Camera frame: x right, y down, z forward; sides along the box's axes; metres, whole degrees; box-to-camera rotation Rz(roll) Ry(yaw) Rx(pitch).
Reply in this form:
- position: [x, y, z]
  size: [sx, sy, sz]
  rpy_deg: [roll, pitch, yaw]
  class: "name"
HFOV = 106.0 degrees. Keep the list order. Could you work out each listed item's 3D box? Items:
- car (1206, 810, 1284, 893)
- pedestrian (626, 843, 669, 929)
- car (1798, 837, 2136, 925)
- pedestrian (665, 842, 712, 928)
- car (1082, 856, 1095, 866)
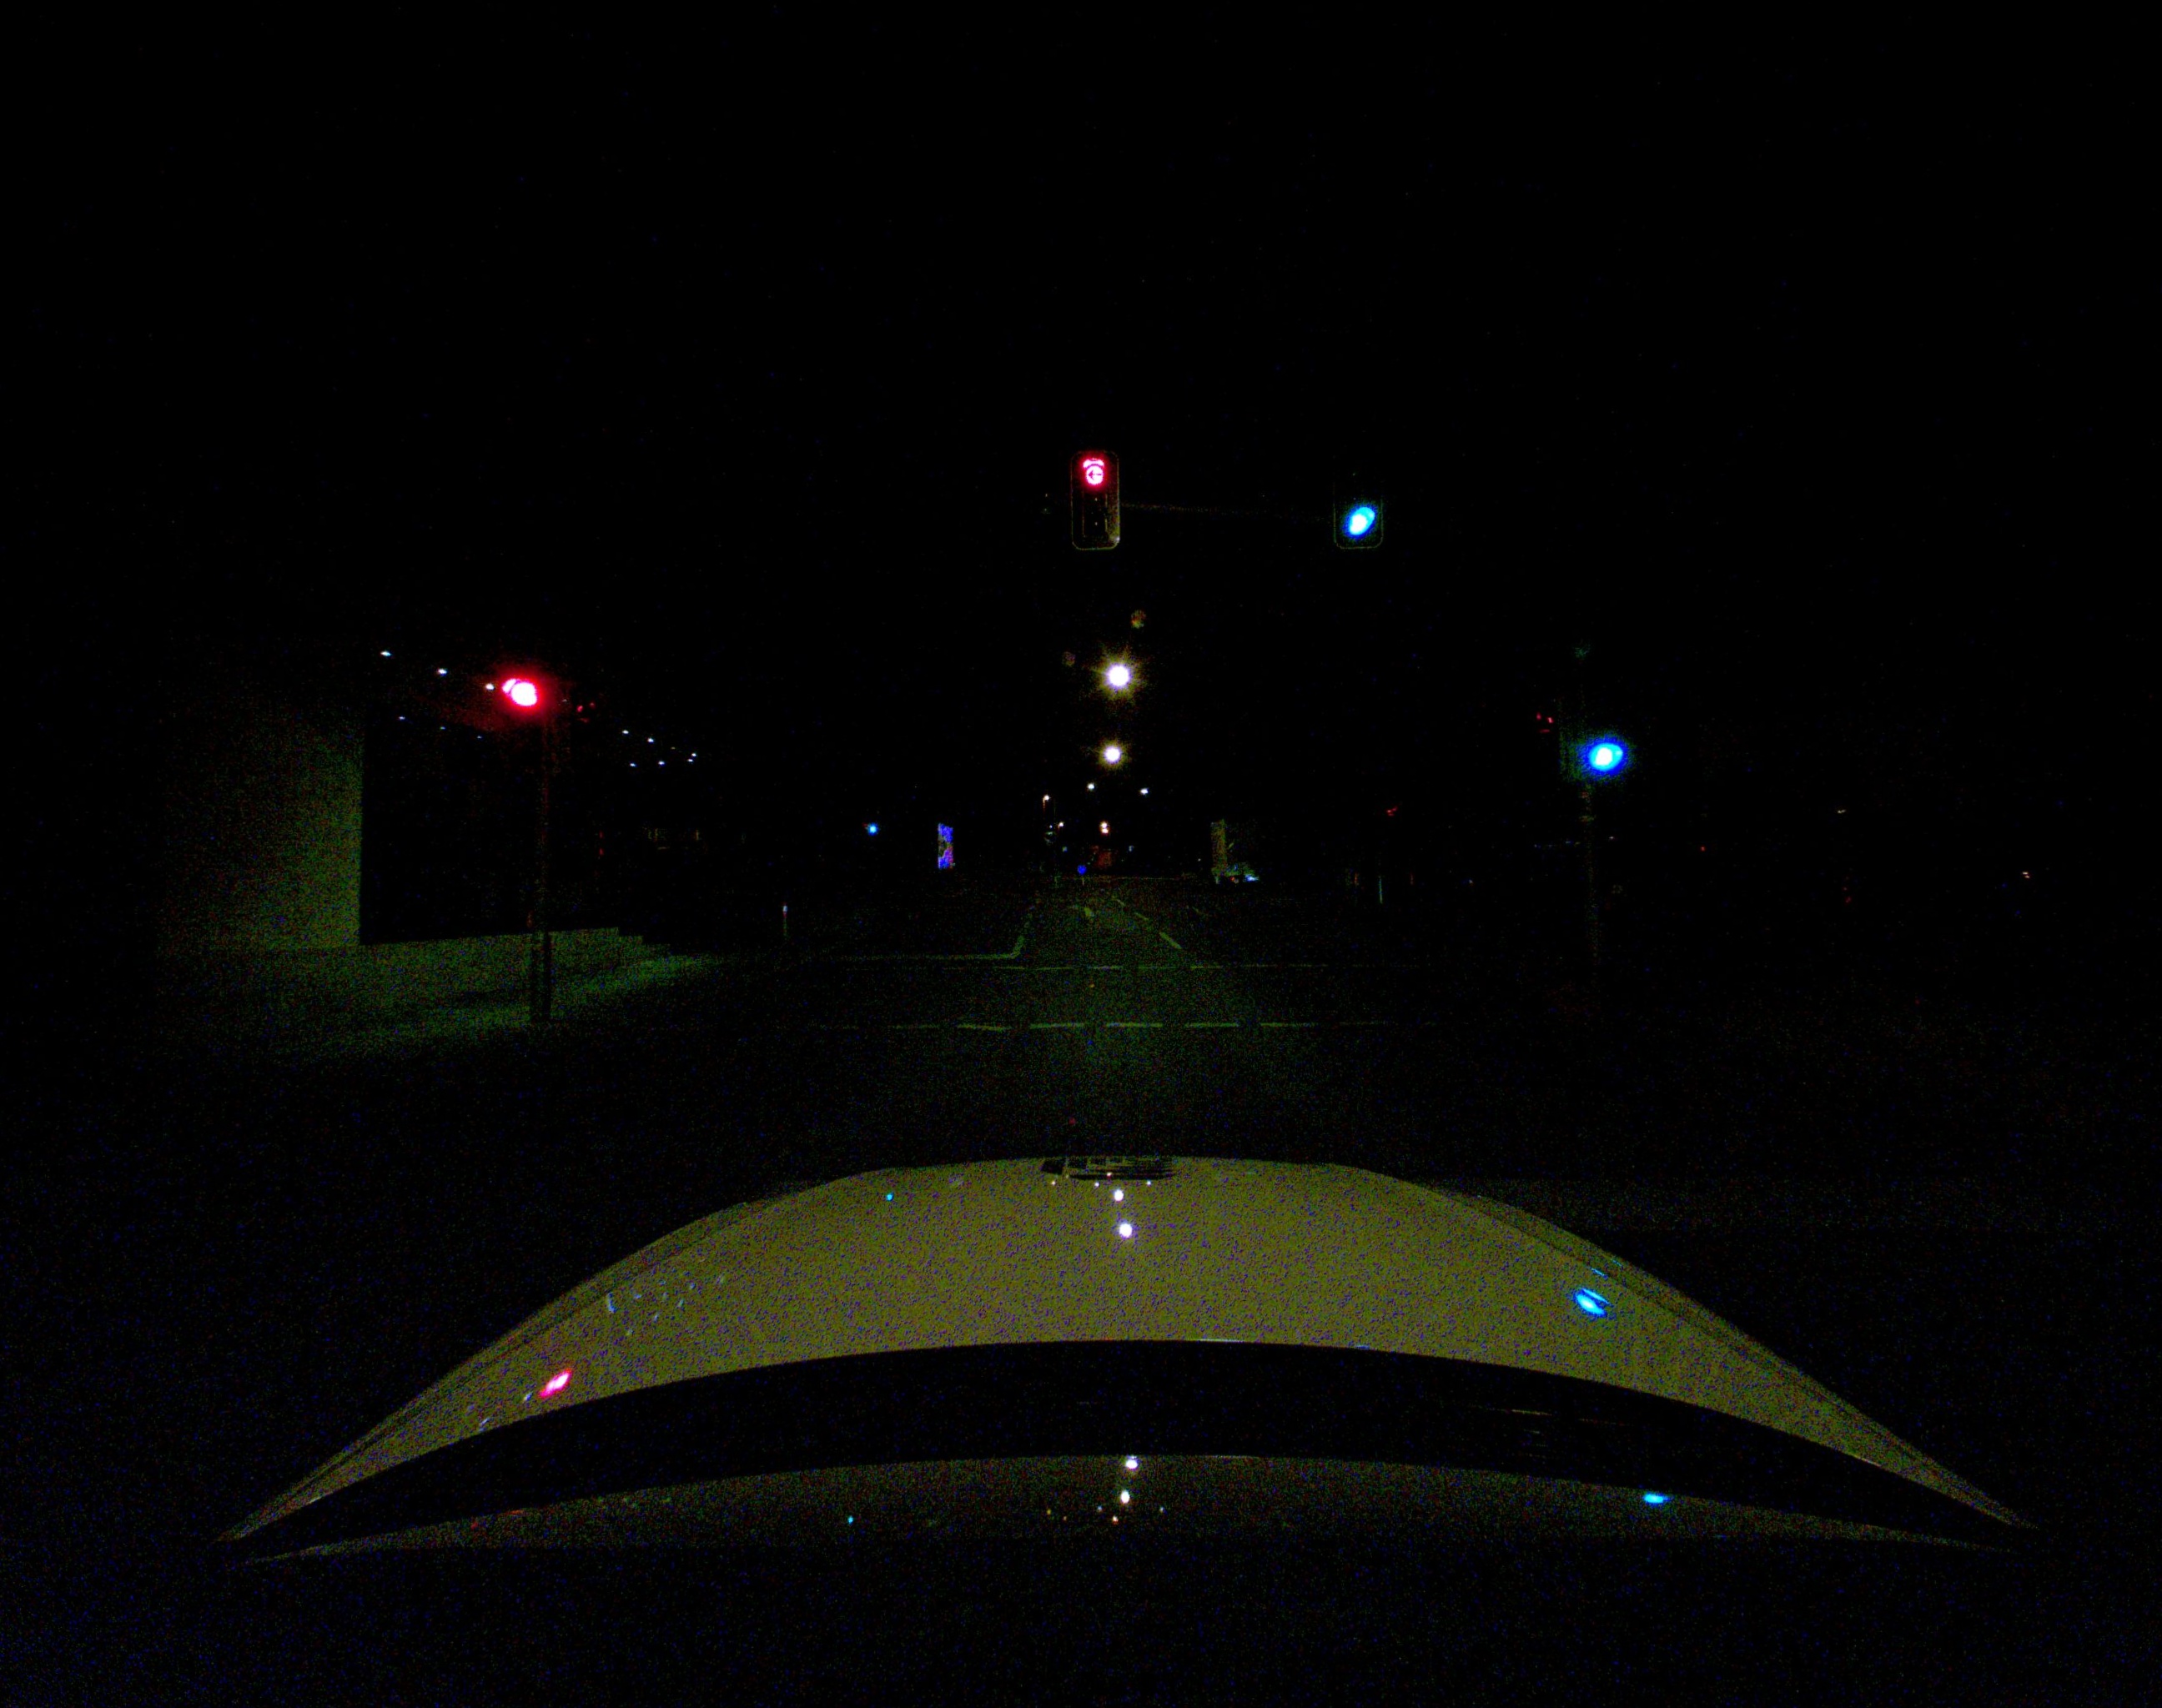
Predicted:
- position: [6.762, -0.079, 34.230]
  size: [2.287, 3.093, 5.845]
  rpy_deg: [-2, -1, 3]
  class: "car"
- position: [-8.927, 0.653, 16.784]
  size: [0.568, 1.731, 0.544]
  rpy_deg: [0, -1, 1]
  class: "pedestrian"
- position: [17.454, 0.565, 16.275]
  size: [4.342, 1.560, 1.807]
  rpy_deg: [-2, -3, 8]
  class: "car"
- position: [-8.300, 0.639, 17.248]
  size: [0.568, 1.778, 0.737]
  rpy_deg: [1, -1, 1]
  class: "pedestrian"
- position: [1.255, 1.167, 134.589]
  size: [1.901, 1.557, 3.906]
  rpy_deg: [0, -1, 2]
  class: "car"
